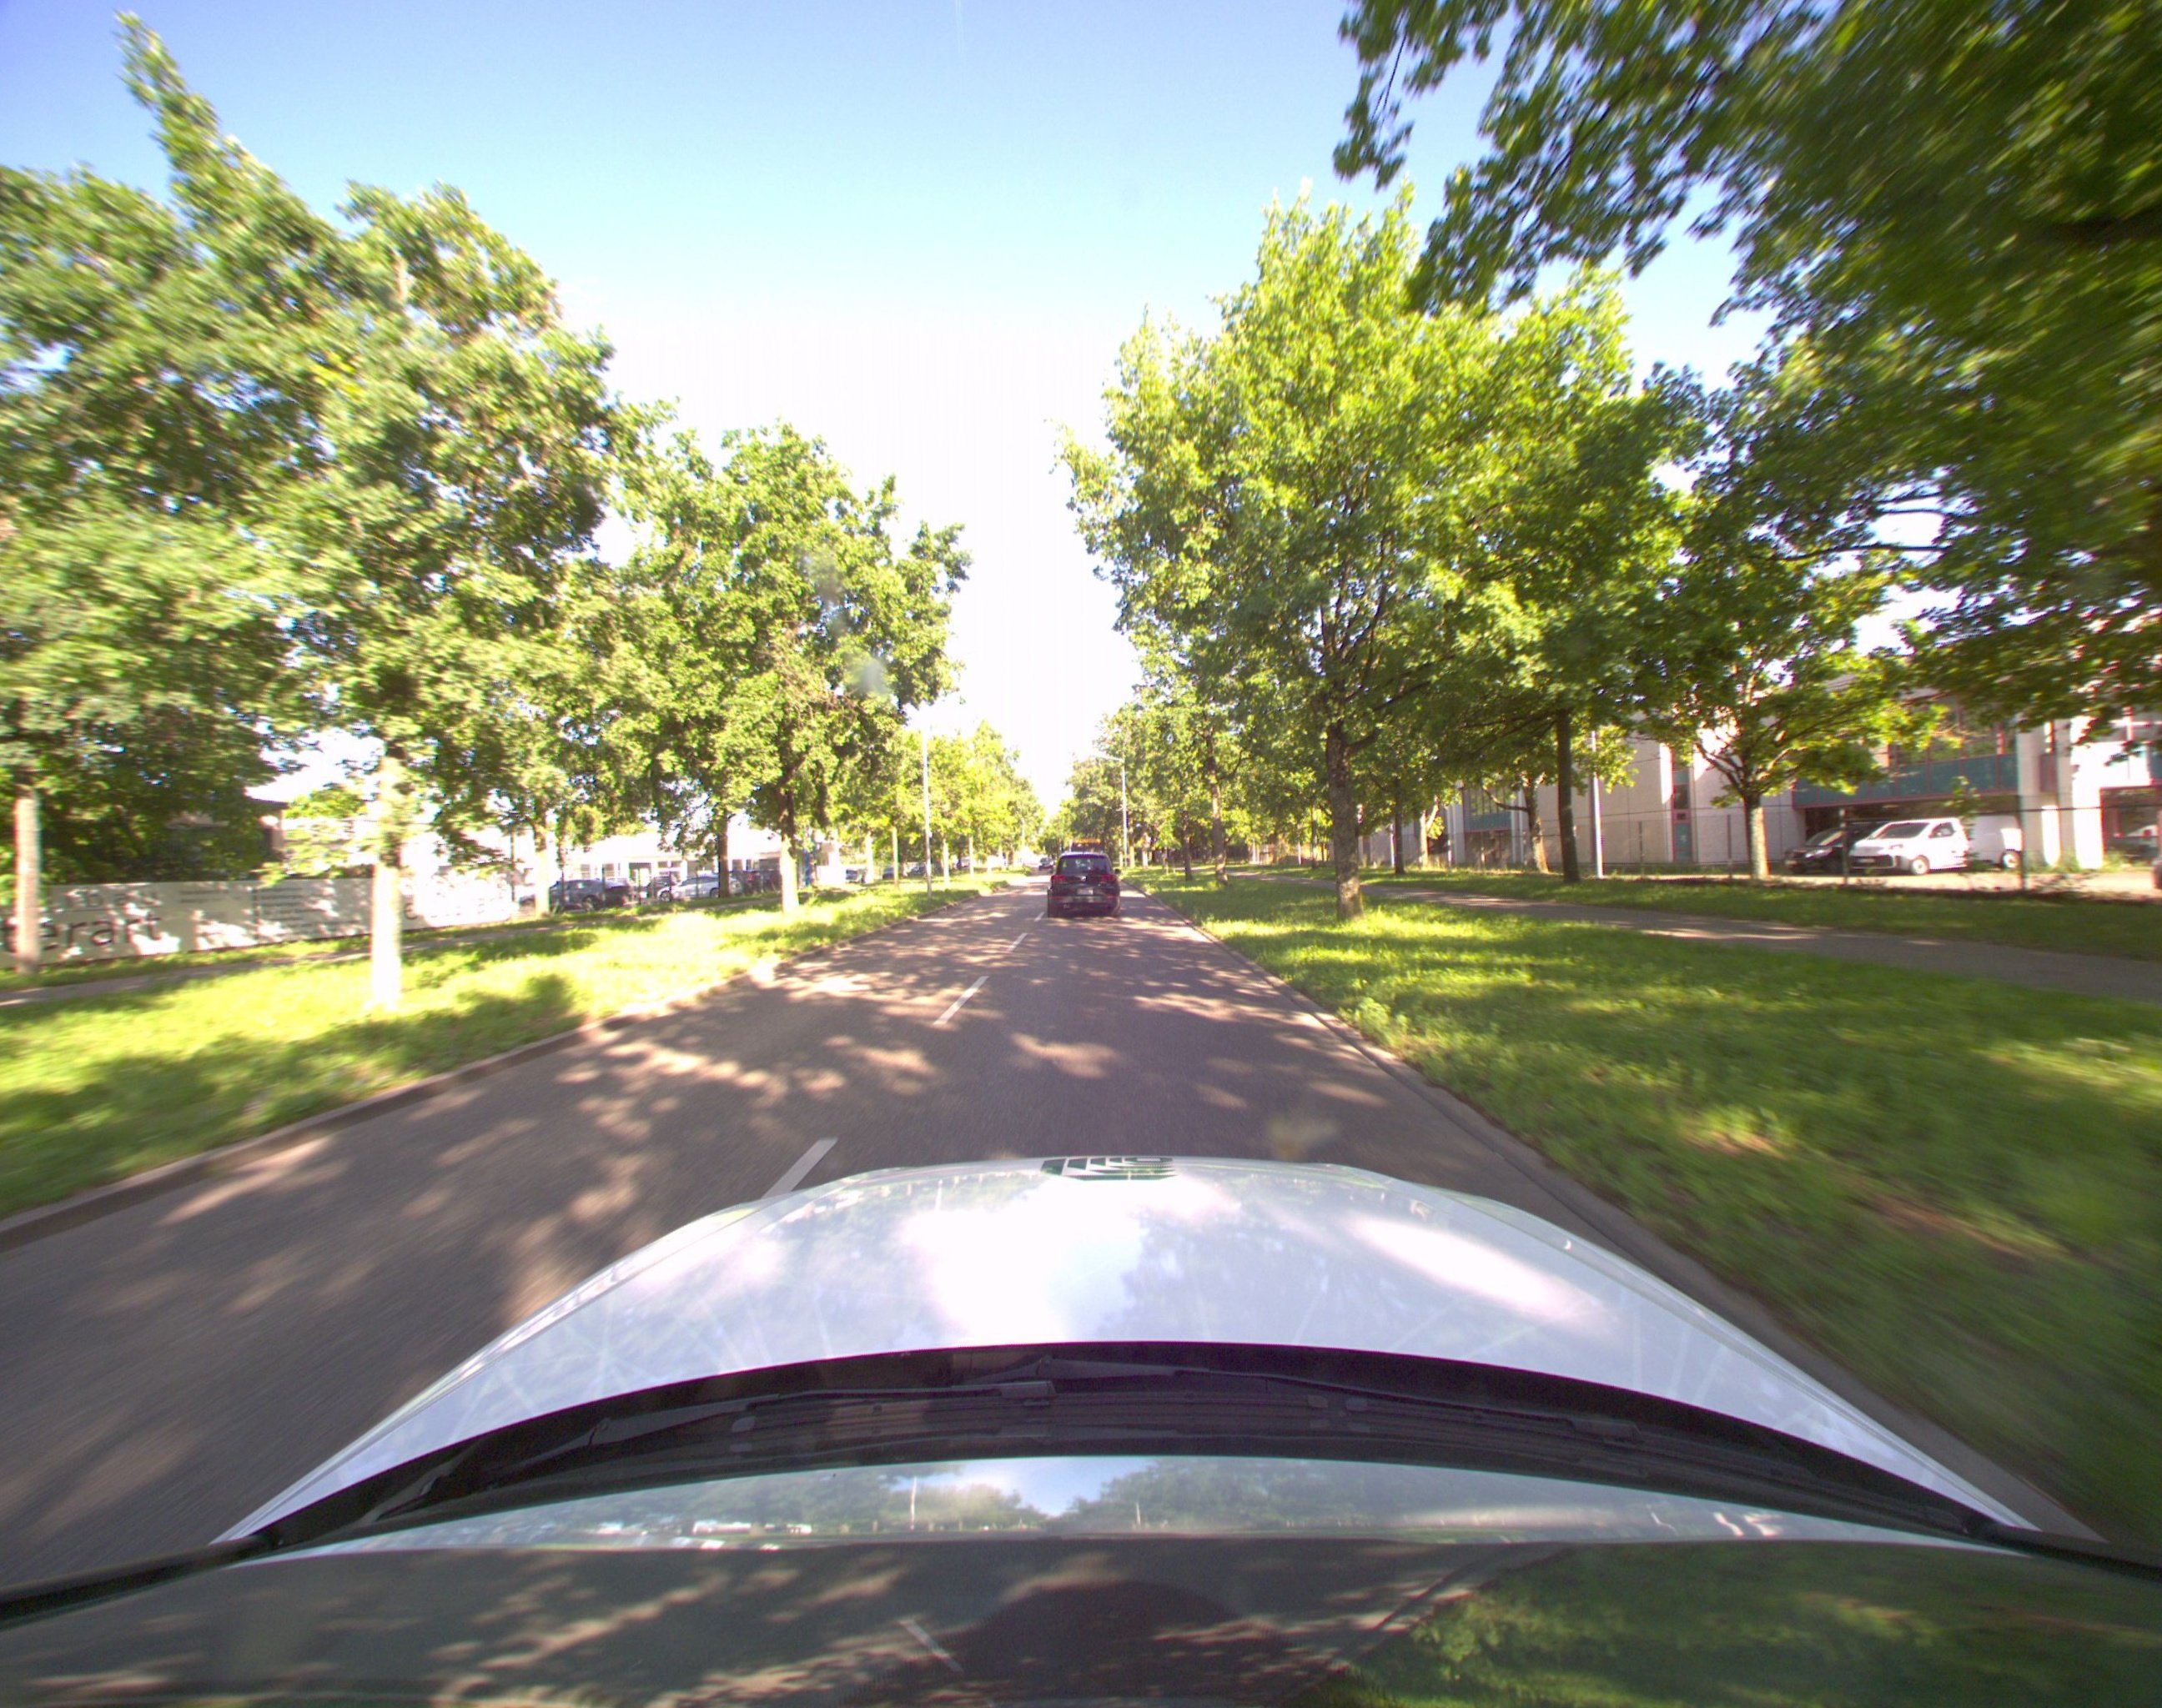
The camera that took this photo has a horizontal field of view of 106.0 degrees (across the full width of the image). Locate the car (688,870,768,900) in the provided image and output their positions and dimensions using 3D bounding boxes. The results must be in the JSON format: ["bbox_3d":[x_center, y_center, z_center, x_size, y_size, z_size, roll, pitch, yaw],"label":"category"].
[{"bbox_3d":[-21.392,1.853,49.429,3.973,1.746,1.862,0,-1,0],"label":"car"}]

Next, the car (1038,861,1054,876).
[{"bbox_3d":[-4.420,1.826,103.303,1.763,1.672,4.196,-3,-1,-2],"label":"car"}]

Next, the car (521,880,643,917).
[{"bbox_3d":[-21.901,1.941,35.872,3.973,1.518,2.198,0,-1,1],"label":"car"}]

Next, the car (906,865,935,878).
[{"bbox_3d":[-23.015,2.521,117.042,3.987,1.802,1.993,0,-1,-10],"label":"car"}]

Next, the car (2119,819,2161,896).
[{"bbox_3d":[23.453,0.014,15.227,1.988,1.606,4.713,-2,-1,-1],"label":"car"}]

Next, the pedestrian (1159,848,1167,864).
[{"bbox_3d":[8.762,0.202,87.182,0.608,1.631,0.716,-4,0,-12],"label":"pedestrian"}]

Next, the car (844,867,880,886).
[{"bbox_3d":[-18.415,1.917,68.511,2.548,1.470,1.431,-2,0,15],"label":"car"}]

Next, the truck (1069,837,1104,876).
[{"bbox_3d":[0.401,0.255,72.720,2.507,3.244,8.140,-2,-1,-4],"label":"truck"}]

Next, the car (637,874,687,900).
[{"bbox_3d":[-30.140,2.339,58.761,1.996,1.689,5.234,0,-1,-14],"label":"car"}]

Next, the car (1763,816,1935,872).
[{"bbox_3d":[29.427,-0.364,31.302,4.939,1.884,1.997,-2,-1,-5],"label":"car"}]

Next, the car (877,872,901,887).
[{"bbox_3d":[-22.912,3.033,97.418,1.989,1.598,5.009,0,-1,-3],"label":"car"}]

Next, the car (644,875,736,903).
[{"bbox_3d":[-22.233,1.955,46.435,4.296,1.518,1.862,0,-1,0],"label":"car"}]

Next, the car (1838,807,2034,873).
[{"bbox_3d":[29.477,-0.455,28.169,5.054,1.959,1.892,-3,-1,-5],"label":"car"}]

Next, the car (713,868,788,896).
[{"bbox_3d":[-21.167,1.793,52.334,3.972,1.742,2.001,0,-1,1],"label":"car"}]

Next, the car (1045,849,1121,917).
[{"bbox_3d":[-0.035,0.710,21.707,1.778,1.633,3.994,0,-1,-4],"label":"car"}]
